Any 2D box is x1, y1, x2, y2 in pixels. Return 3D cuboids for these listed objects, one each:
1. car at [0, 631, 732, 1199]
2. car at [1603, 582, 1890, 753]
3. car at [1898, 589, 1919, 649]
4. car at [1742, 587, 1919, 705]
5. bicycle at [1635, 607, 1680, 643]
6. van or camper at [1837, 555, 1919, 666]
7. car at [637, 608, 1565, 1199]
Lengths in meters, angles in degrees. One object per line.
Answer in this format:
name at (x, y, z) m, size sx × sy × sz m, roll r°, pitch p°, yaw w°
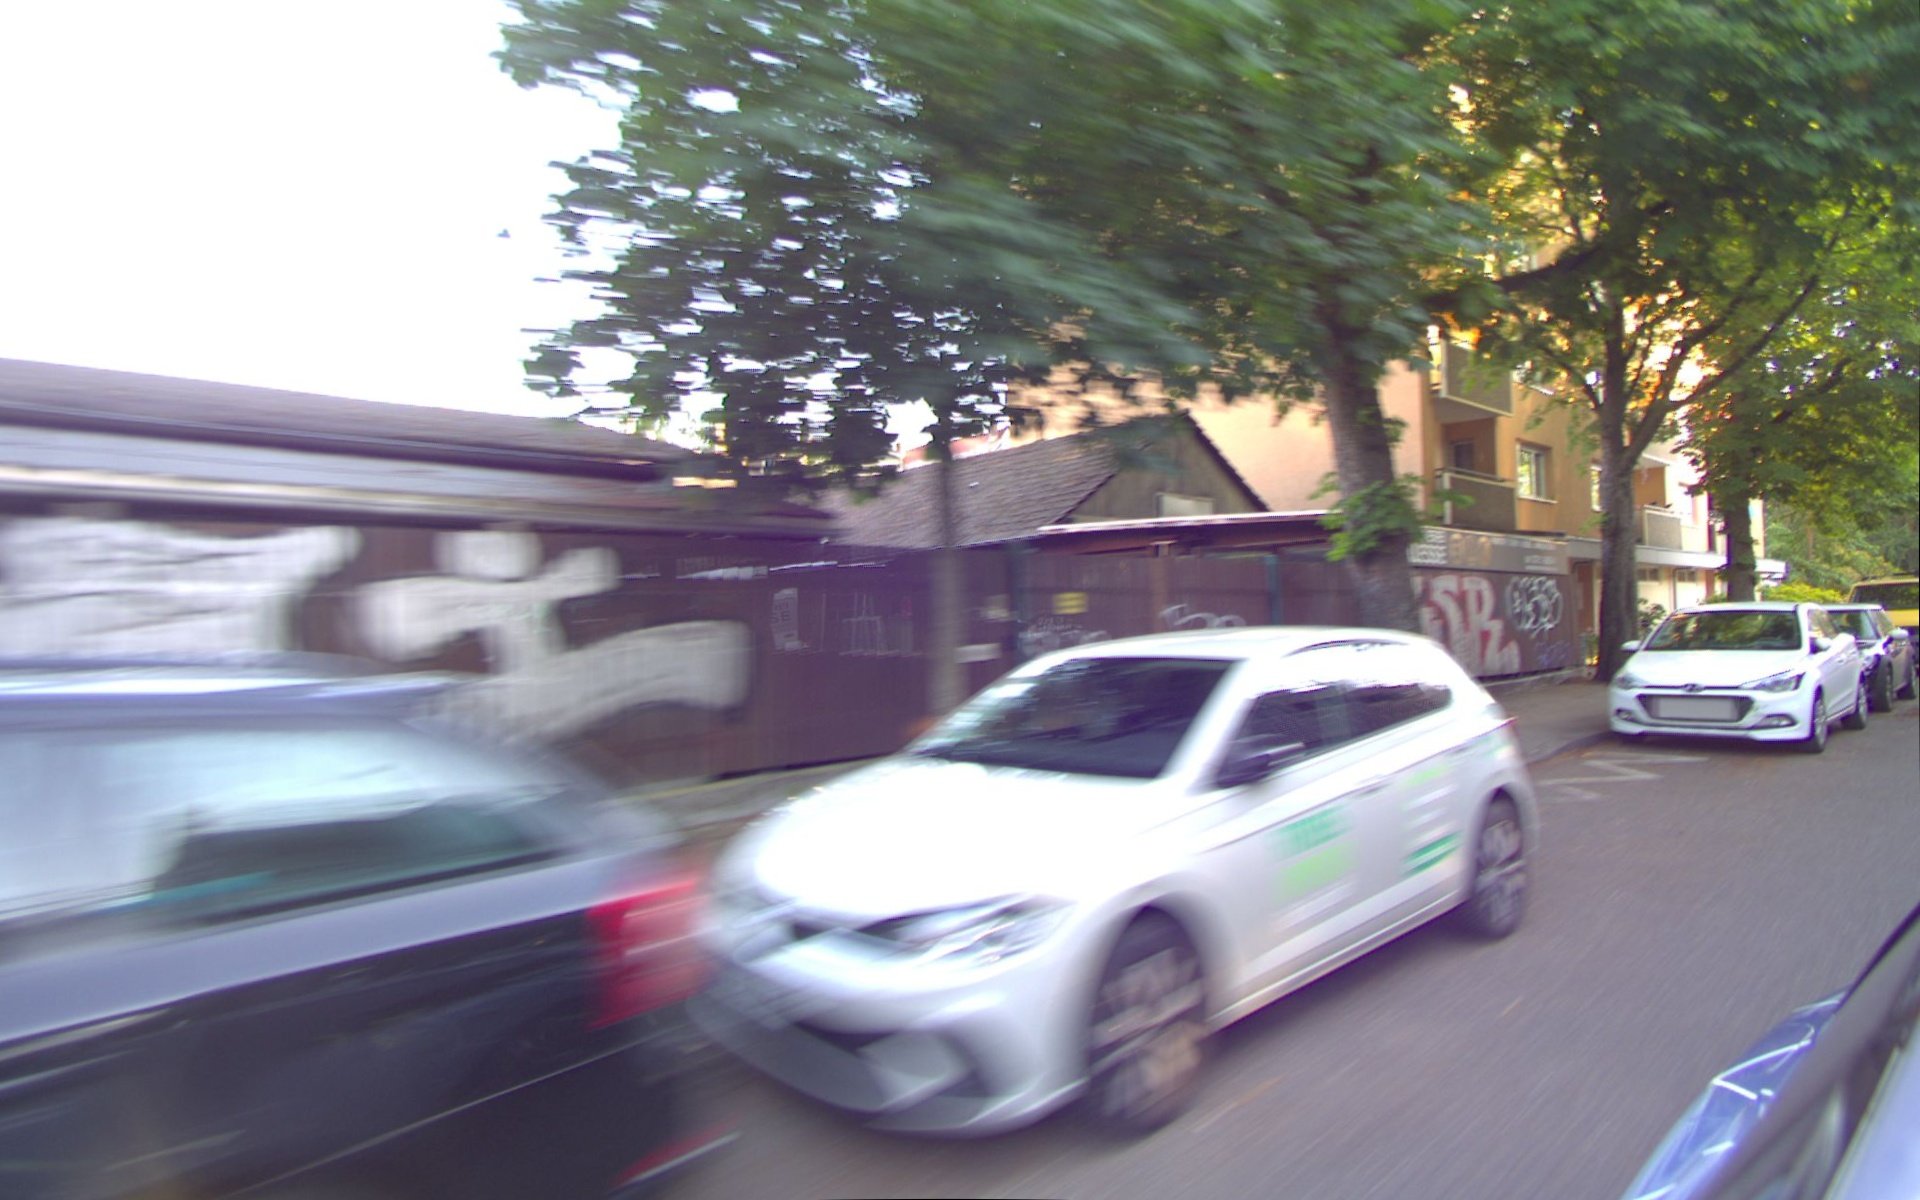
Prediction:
car at (-2.664, 0.815, 1.327) m, size 4.315 × 1.473 × 1.762 m, roll 0°, pitch -2°, yaw -41°
car at (8.678, 0.635, 11.048) m, size 3.955 × 1.539 × 1.724 m, roll 0°, pitch -2°, yaw -41°
car at (24.312, 0.435, 24.636) m, size 3.928 × 1.400 × 1.609 m, roll 0°, pitch -2°, yaw -39°
car at (12.455, 0.598, 14.297) m, size 3.393 × 1.469 × 1.565 m, roll 0°, pitch -2°, yaw -41°
bicycle at (18.414, 0.647, 26.701) m, size 1.803 × 0.933 × 0.524 m, roll 0°, pitch -2°, yaw -42°
van or camper at (20.070, 0.211, 21.094) m, size 5.003 × 2.123 × 2.066 m, roll 0°, pitch -2°, yaw -42°
car at (0.874, 0.782, 4.312) m, size 3.935 × 1.461 × 1.762 m, roll 0°, pitch -2°, yaw -41°
